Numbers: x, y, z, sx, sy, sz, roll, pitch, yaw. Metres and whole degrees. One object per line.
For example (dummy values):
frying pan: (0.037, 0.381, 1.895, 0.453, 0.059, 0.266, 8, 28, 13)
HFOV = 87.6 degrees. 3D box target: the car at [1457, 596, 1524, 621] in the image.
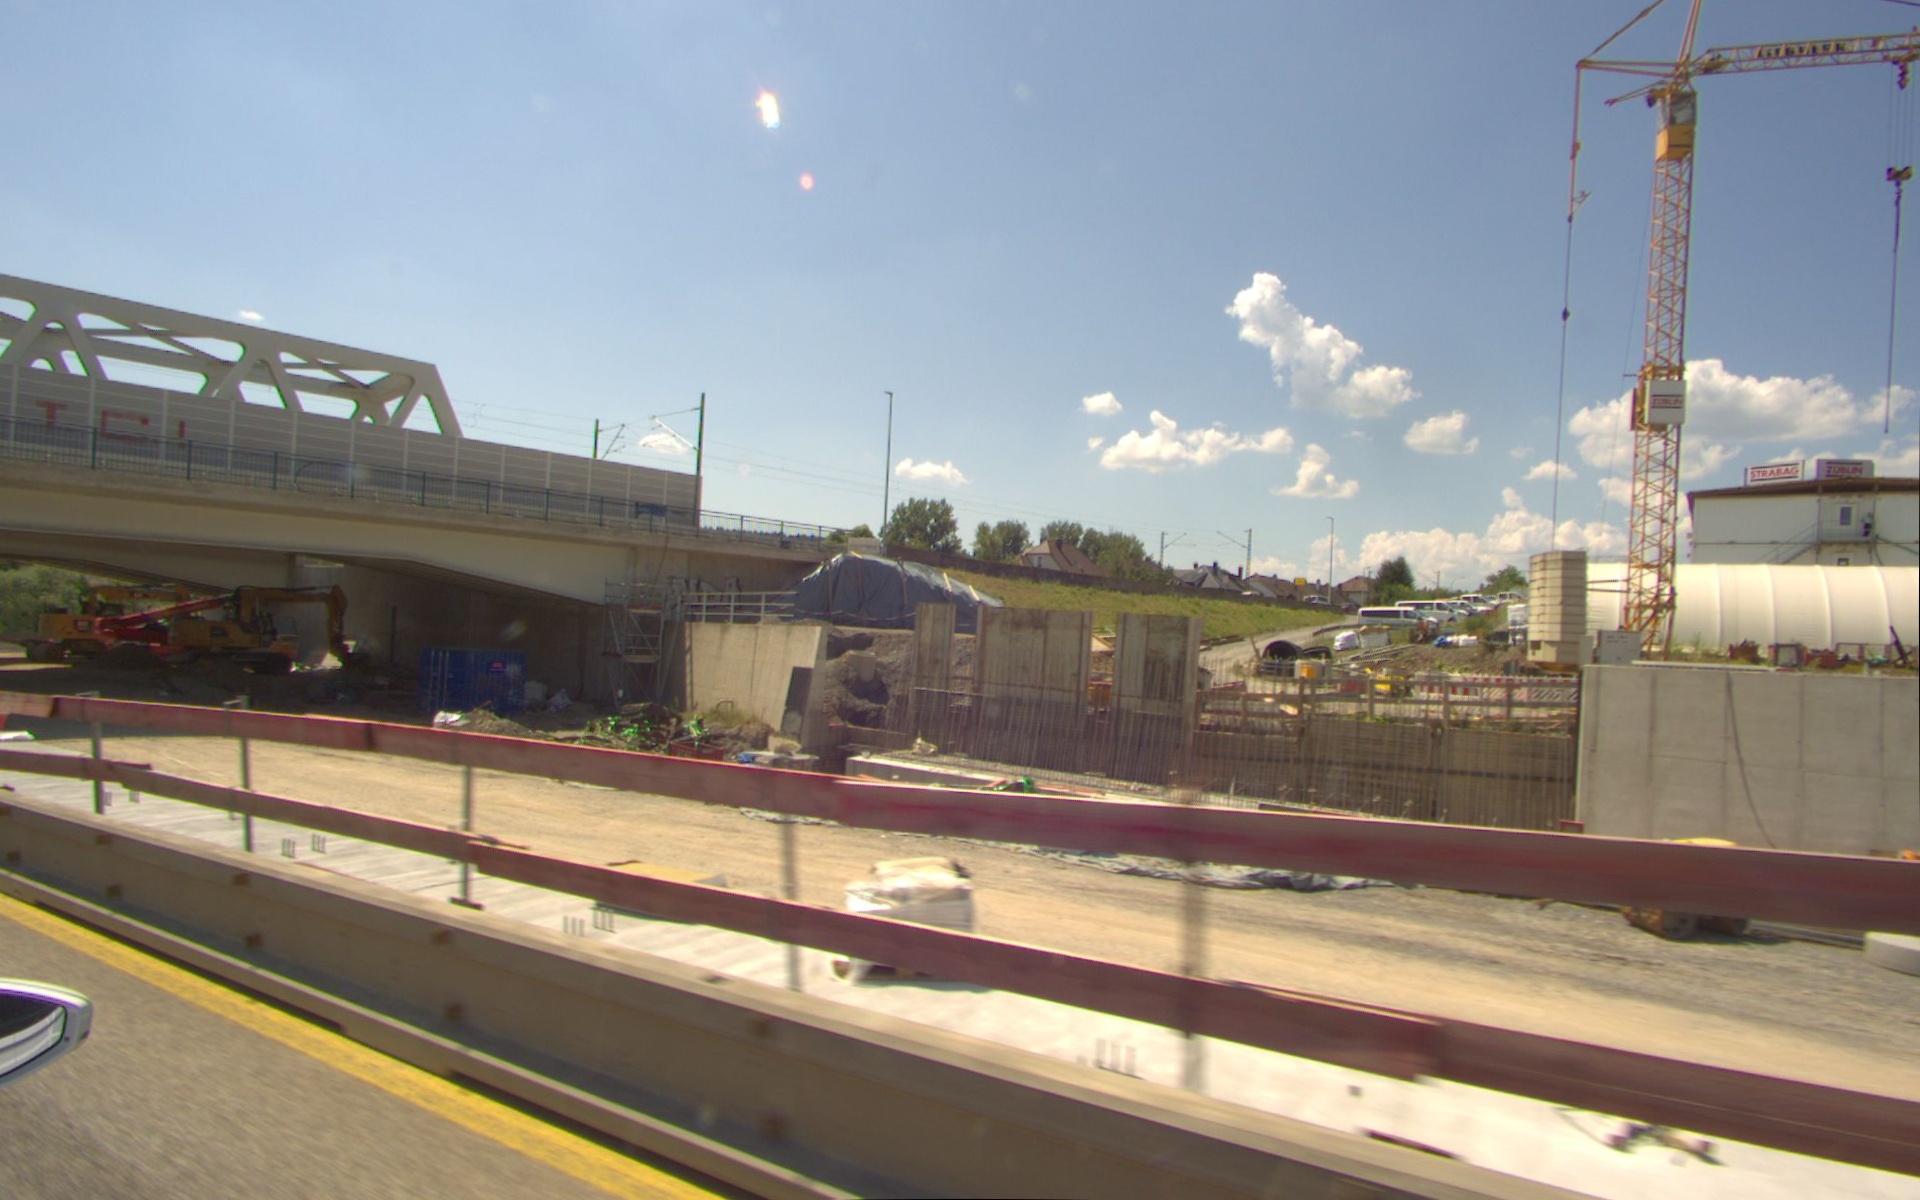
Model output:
car: (45.921, 0.781, 86.729, 4.921, 1.984, 1.988, -2, -3, 36)

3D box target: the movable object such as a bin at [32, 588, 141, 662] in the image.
movable object such as a bin: (-45.198, 1.361, 51.831, 2.872, 3.585, 3.863, -2, -4, 43)

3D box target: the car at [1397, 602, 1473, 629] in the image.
car: (35.981, 1.210, 75.955, 4.921, 1.984, 1.988, -2, -3, 36)

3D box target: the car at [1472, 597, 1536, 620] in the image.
car: (49.726, 0.825, 91.629, 4.921, 1.984, 1.988, -2, -3, 36)

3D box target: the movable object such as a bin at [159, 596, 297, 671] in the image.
movable object such as a bin: (-34.696, 1.649, 47.555, 2.951, 3.327, 4.543, -1, -4, 36)

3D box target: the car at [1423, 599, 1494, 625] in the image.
car: (40.713, 1.010, 81.783, 4.921, 1.984, 1.988, -2, -3, 36)

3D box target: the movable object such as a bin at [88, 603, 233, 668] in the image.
movable object such as a bin: (-40.827, 1.910, 51.251, 2.464, 3.093, 5.228, -1, -4, 35)

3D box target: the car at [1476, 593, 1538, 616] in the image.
car: (51.661, 0.456, 94.539, 4.921, 1.984, 1.988, -2, -3, 36)

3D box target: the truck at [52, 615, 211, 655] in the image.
truck: (-47.519, 2.054, 57.612, 2.629, 2.099, 6.508, 0, -3, 35)

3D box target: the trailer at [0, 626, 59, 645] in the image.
trailer: (-63.563, 2.404, 66.846, 2.026, 1.235, 4.707, -1, -3, 31)

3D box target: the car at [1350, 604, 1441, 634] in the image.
car: (30.182, 1.378, 69.443, 5.499, 1.984, 1.988, -2, -3, 36)
